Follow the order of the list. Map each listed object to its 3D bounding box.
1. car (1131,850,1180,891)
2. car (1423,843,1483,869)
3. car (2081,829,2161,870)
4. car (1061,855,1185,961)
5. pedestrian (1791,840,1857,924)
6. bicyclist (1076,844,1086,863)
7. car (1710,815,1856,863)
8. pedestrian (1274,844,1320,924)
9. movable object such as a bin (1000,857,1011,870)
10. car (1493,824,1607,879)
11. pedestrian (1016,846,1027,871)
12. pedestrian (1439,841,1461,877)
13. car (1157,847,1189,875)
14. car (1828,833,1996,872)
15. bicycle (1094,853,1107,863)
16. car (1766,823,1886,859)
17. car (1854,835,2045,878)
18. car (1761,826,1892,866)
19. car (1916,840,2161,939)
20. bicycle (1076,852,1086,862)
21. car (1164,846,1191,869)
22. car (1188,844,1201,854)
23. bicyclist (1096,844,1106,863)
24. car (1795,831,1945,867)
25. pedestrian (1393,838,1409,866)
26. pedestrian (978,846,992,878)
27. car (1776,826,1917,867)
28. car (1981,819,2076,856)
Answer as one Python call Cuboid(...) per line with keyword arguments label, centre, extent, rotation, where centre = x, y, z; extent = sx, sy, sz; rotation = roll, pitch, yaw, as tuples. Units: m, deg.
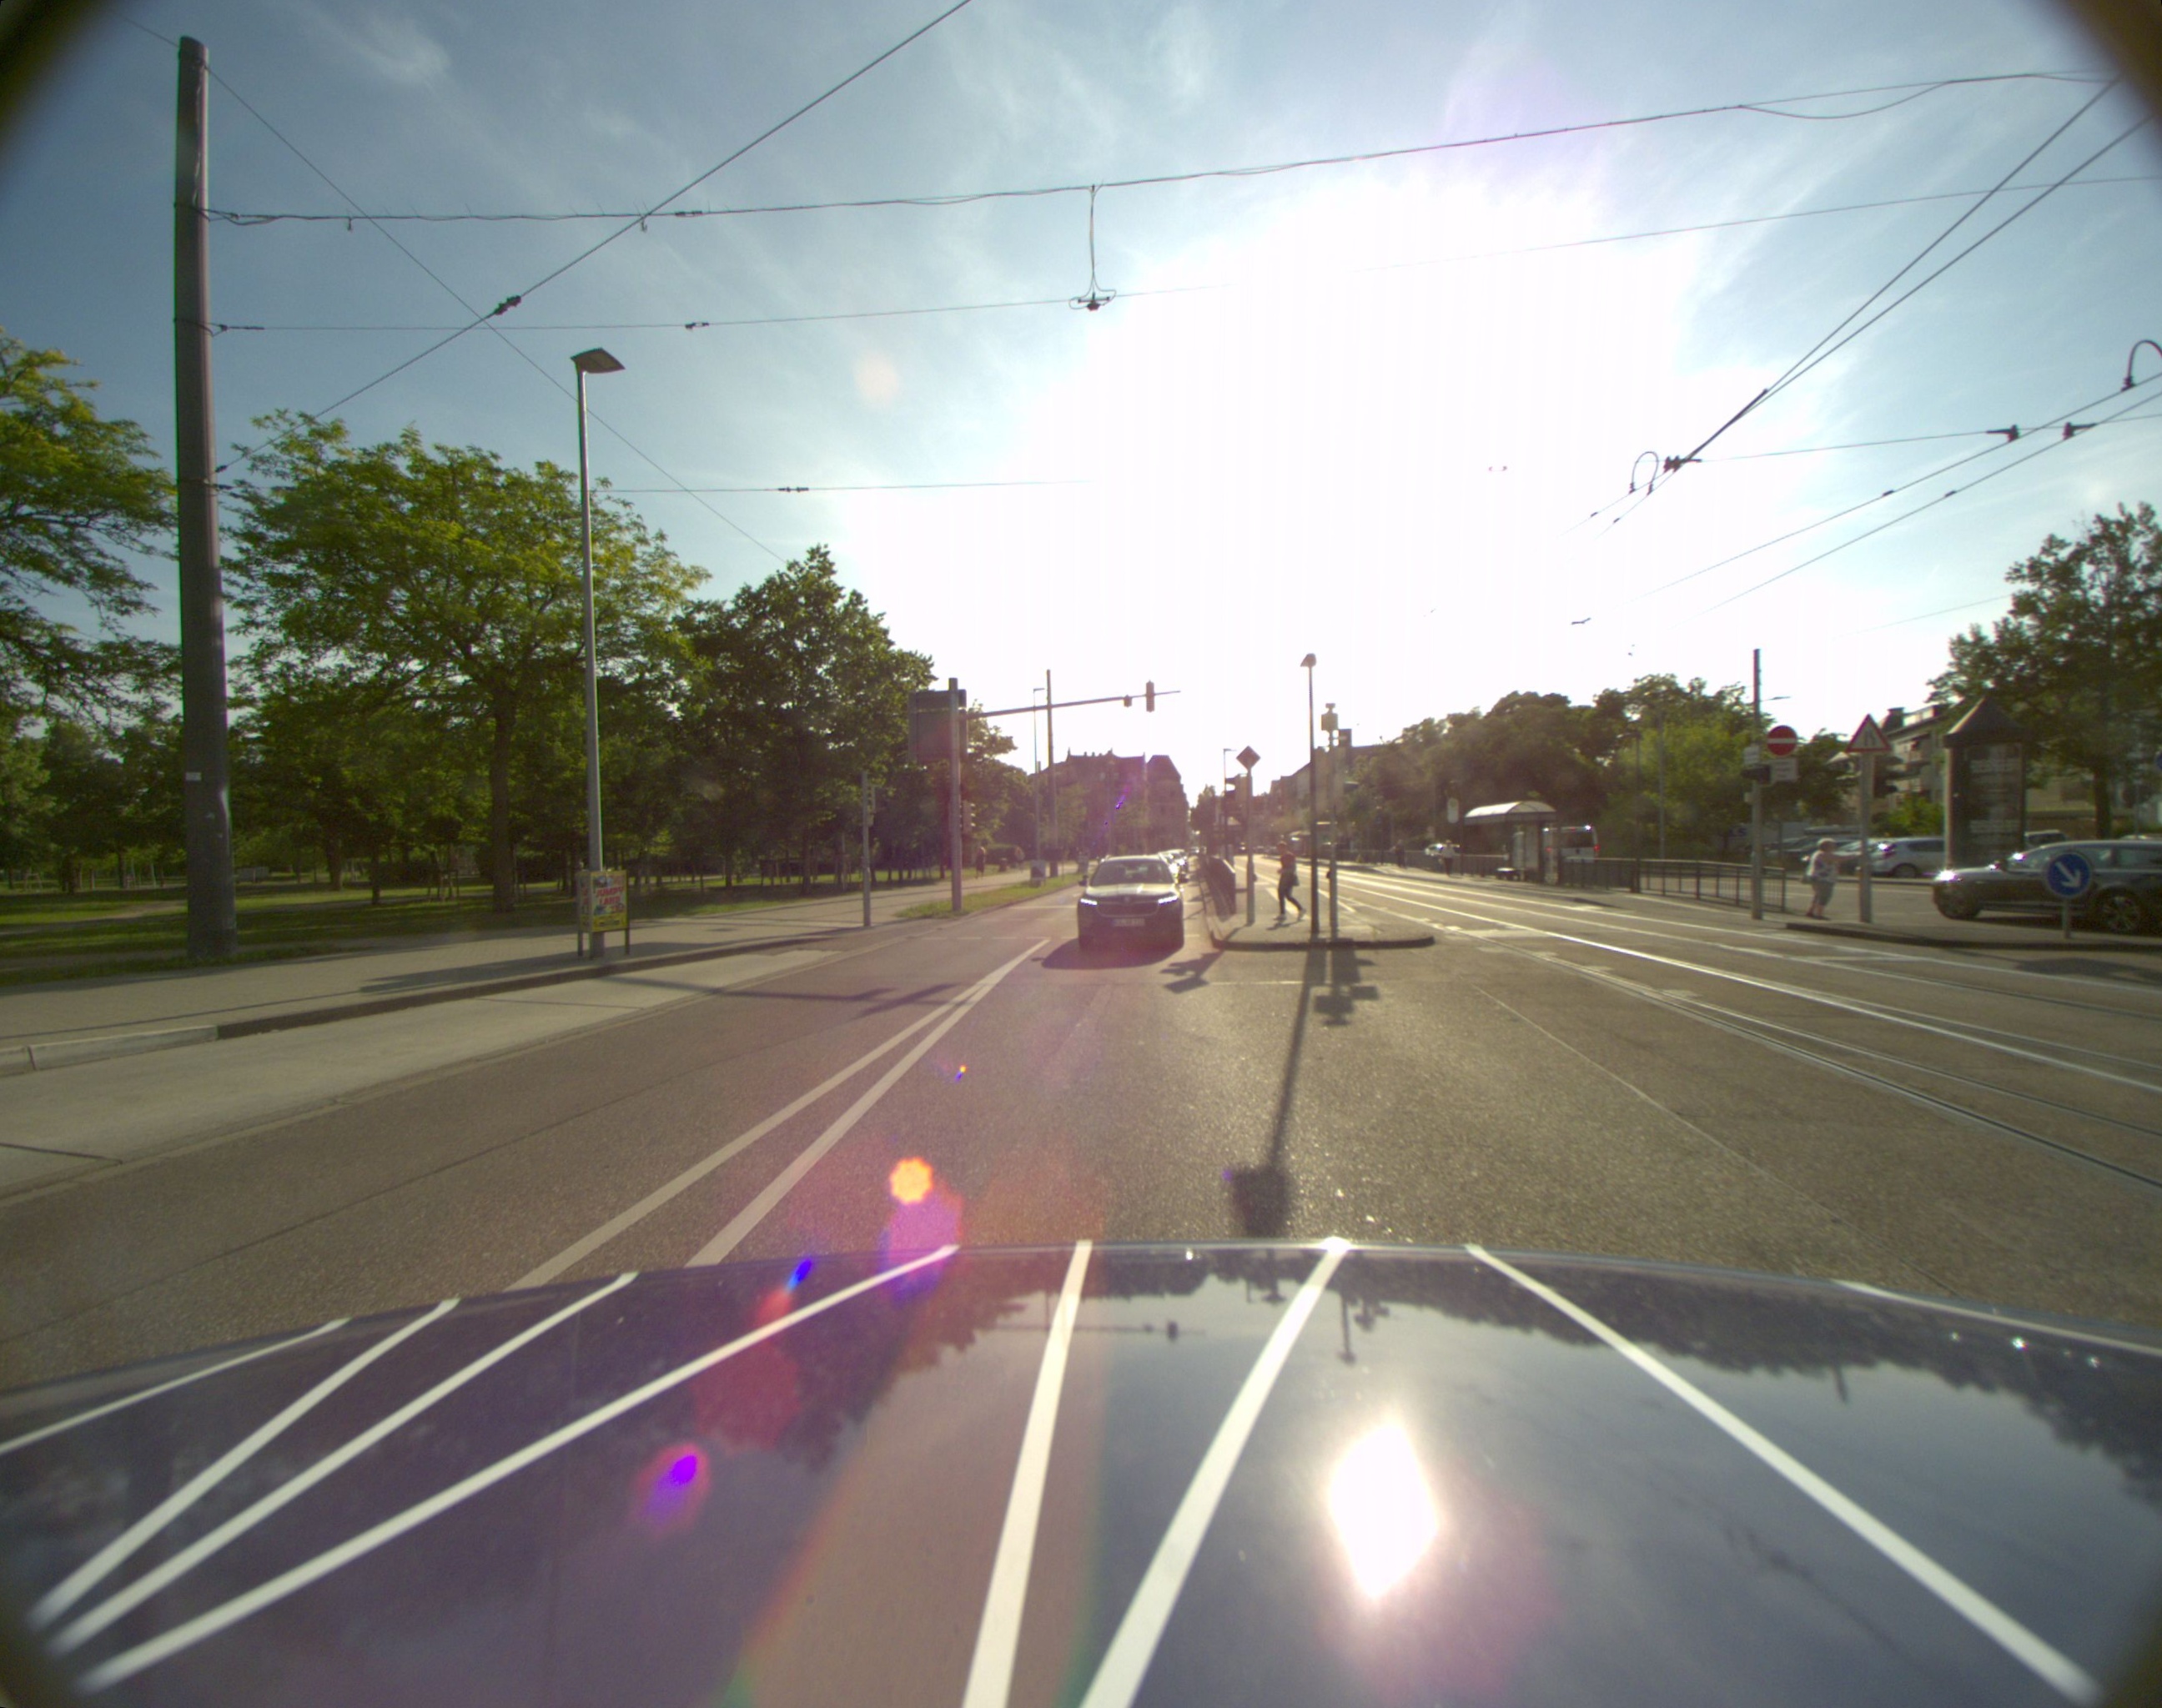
Cuboid(label="car", centre=(3.086, 0.624, 30.933), extent=(1.780, 1.496, 4.002), rotation=(-1, 1, 8))
Cuboid(label="car", centre=(22.715, 0.136, 46.560), extent=(1.681, 1.517, 4.124), rotation=(-1, 0, 0))
Cuboid(label="car", centre=(43.543, -0.213, 31.108), extent=(1.813, 1.564, 4.007), rotation=(0, 1, 32))
Cuboid(label="car", centre=(0.907, 0.838, 13.620), extent=(1.780, 1.496, 4.002), rotation=(-3, 1, 8))
Cuboid(label="pedestrian", centre=(14.421, 0.527, 14.758), extent=(0.591, 1.580, 0.716), rotation=(-1, 1, 5))
Cuboid(label="bicyclist", centre=(0.002, -0.071, 74.071), extent=(0.753, 1.763, 1.119), rotation=(-1, 1, 7))
Cuboid(label="car", centre=(44.317, -0.900, 48.209), extent=(6.584, 2.793, 1.776), rotation=(-1, 1, 29))
Cuboid(label="pedestrian", centre=(4.585, 0.622, 16.180), extent=(0.882, 1.660, 0.672), rotation=(-1, 1, 11))
Cuboid(label="movable object such as a bin", centre=(-5.155, 0.658, 51.715), extent=(0.525, 0.899, 0.502), rotation=(-2, 2, -43))
Cuboid(label="car", centre=(20.557, -0.122, 33.614), extent=(2.181, 2.226, 5.255), rotation=(-1, 1, 5))
Cuboid(label="pedestrian", centre=(-3.965, 0.273, 50.521), extent=(0.621, 1.642, 0.662), rotation=(-1, 1, 6))
Cuboid(label="pedestrian", centre=(16.946, 0.224, 34.941), extent=(0.707, 1.619, 0.728), rotation=(-1, 1, 8))
Cuboid(label="car", centre=(5.270, 0.376, 43.312), extent=(1.671, 1.496, 3.874), rotation=(-1, 1, 8))
Cuboid(label="car", centre=(31.568, -0.058, 29.046), extent=(3.989, 1.420, 1.776), rotation=(-1, 1, 29))
Cuboid(label="bicycle", centre=(1.854, 0.379, 73.750), extent=(0.739, 0.912, 2.097), rotation=(-1, 1, 16))
Cuboid(label="car", centre=(37.949, -0.655, 38.848), extent=(3.989, 1.744, 1.857), rotation=(-1, 1, 27))
Cuboid(label="car", centre=(29.996, 0.081, 26.437), extent=(3.989, 1.420, 1.776), rotation=(-1, 1, 29))
Cuboid(label="car", centre=(34.586, -0.363, 35.413), extent=(3.989, 1.744, 1.857), rotation=(-1, 1, 27))
Cuboid(label="car", centre=(17.387, 0.536, 12.950), extent=(1.770, 1.486, 4.748), rotation=(-1, -1, 11))
Cuboid(label="bicycle", centre=(-0.012, 0.243, 74.103), extent=(0.739, 0.912, 2.095), rotation=(-1, 1, 7))
Cuboid(label="car", centre=(6.729, 0.214, 52.716), extent=(1.780, 1.496, 4.002), rotation=(-1, 1, 8))
Cuboid(label="car", centre=(19.349, -0.868, 129.877), extent=(1.997, 1.674, 4.001), rotation=(-1, 1, 7))
Cuboid(label="bicyclist", centre=(1.945, -0.071, 74.104), extent=(0.729, 1.763, 1.016), rotation=(-1, 2, 16))
Cuboid(label="car", centre=(32.711, -0.213, 31.670), extent=(3.989, 1.420, 1.776), rotation=(-1, 1, 29))
Cuboid(label="pedestrian", centre=(18.960, -0.103, 45.055), extent=(0.736, 1.619, 0.690), rotation=(-1, 1, 8))
Cuboid(label="pedestrian", centre=(-5.108, 0.441, 40.553), extent=(0.558, 1.691, 0.662), rotation=(-1, 1, 8))
Cuboid(label="car", centre=(33.652, -0.318, 33.569), extent=(3.989, 1.744, 1.857), rotation=(-1, 1, 27))
Cuboid(label="car", centre=(48.942, -0.841, 39.369), extent=(1.813, 1.789, 4.007), rotation=(0, 1, 31))
